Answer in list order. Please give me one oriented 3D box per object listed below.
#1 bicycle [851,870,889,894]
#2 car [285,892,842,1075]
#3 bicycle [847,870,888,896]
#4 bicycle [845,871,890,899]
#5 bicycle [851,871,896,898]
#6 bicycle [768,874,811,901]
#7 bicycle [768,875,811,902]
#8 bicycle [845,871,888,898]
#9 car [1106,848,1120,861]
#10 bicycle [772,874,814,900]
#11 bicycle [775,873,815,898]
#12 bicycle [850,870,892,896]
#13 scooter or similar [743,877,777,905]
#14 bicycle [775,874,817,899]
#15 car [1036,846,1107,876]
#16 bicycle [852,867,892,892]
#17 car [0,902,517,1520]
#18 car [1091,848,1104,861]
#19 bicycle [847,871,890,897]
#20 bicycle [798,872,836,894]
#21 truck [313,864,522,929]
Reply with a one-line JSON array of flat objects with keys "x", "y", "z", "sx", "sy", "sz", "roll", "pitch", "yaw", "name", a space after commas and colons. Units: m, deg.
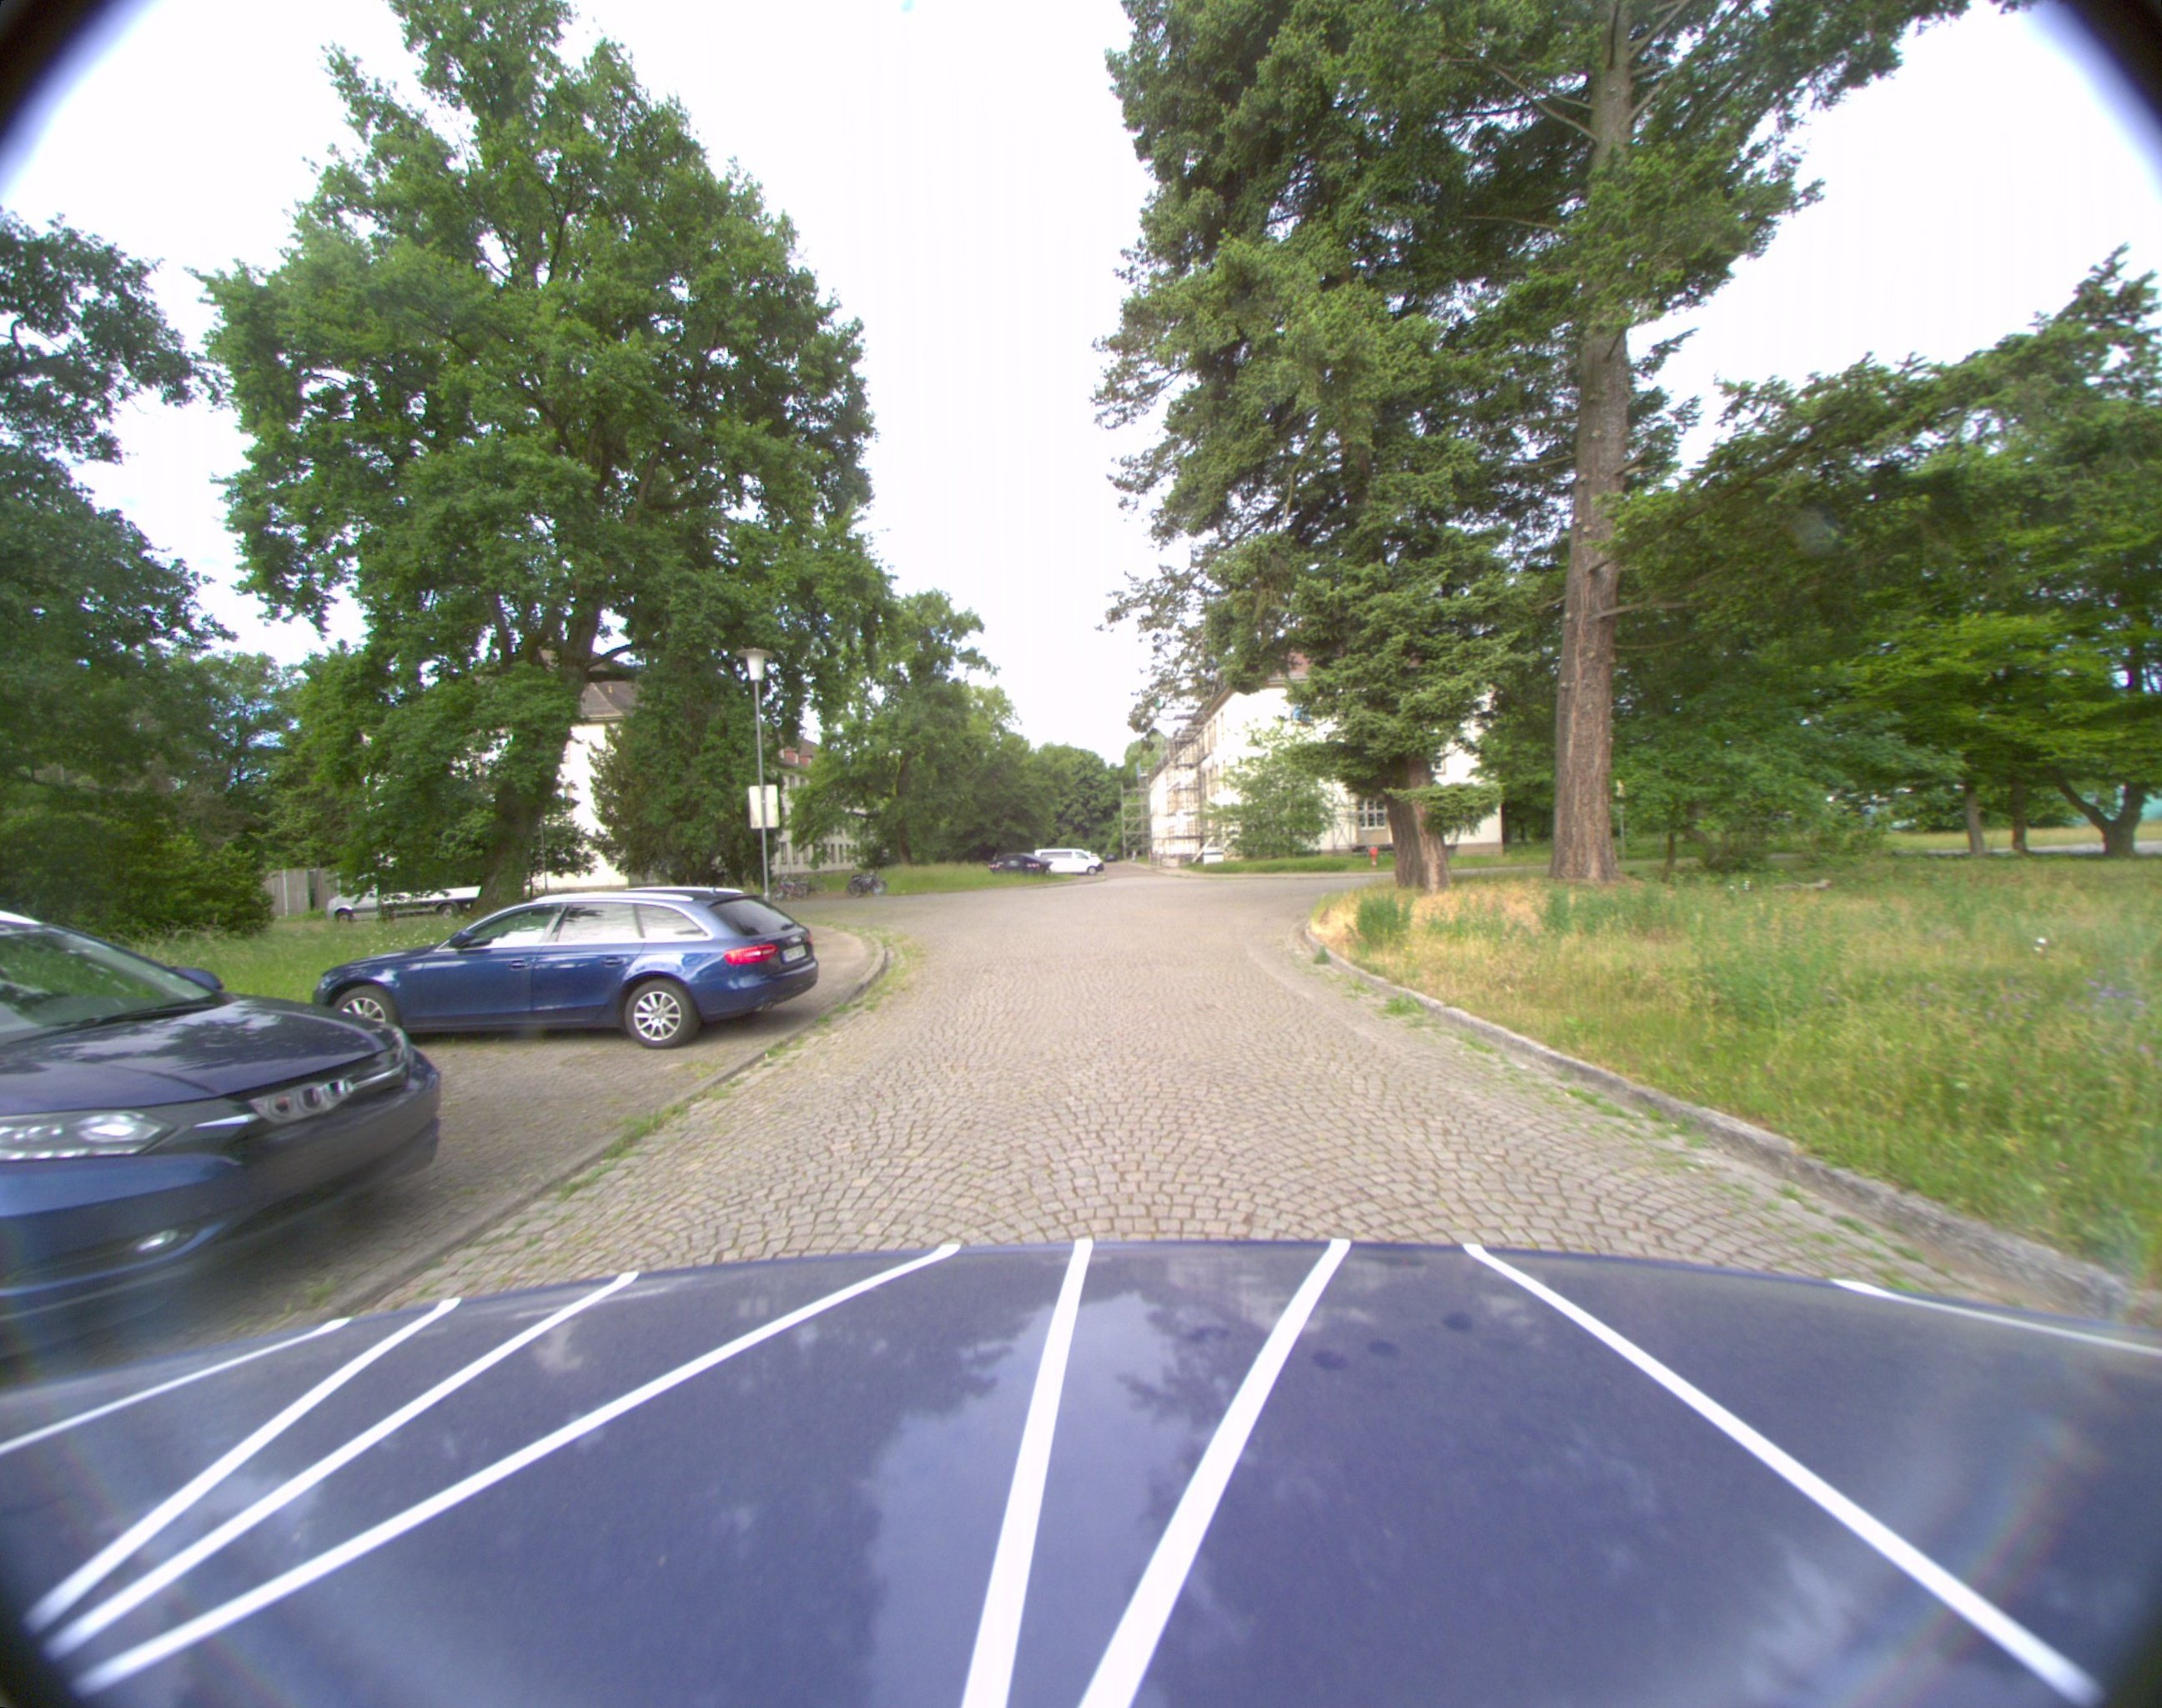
[{"x": -11.617, "y": 1.534, "z": 41.889, "sx": 1.940, "sy": 1.163, "sz": 0.537, "roll": -5, "pitch": 1, "yaw": -16, "name": "bicycle"}, {"x": -4.969, "y": 1.221, "z": 7.770, "sx": 4.367, "sy": 1.431, "sz": 1.927, "roll": -2, "pitch": 0, "yaw": 3, "name": "car"}, {"x": -11.261, "y": 1.524, "z": 40.035, "sx": 1.941, "sy": 1.163, "sz": 0.487, "roll": -5, "pitch": 1, "yaw": -21, "name": "bicycle"}, {"x": -10.170, "y": 1.479, "z": 36.184, "sx": 1.942, "sy": 1.163, "sz": 0.487, "roll": -5, "pitch": 1, "yaw": -27, "name": "bicycle"}, {"x": -10.053, "y": 1.464, "z": 36.861, "sx": 1.942, "sy": 1.163, "sz": 0.487, "roll": -5, "pitch": 1, "yaw": -27, "name": "bicycle"}, {"x": -14.224, "y": 1.640, "z": 37.133, "sx": 1.861, "sy": 1.163, "sz": 0.487, "roll": -4, "pitch": 1, "yaw": -25, "name": "bicycle"}, {"x": -14.027, "y": 1.656, "z": 36.565, "sx": 1.861, "sy": 1.163, "sz": 0.487, "roll": -4, "pitch": 1, "yaw": -25, "name": "bicycle"}, {"x": -10.674, "y": 1.501, "z": 37.783, "sx": 1.941, "sy": 1.163, "sz": 0.487, "roll": -5, "pitch": 1, "yaw": -25, "name": "bicycle"}, {"x": 5.209, "y": 0.128, "z": 122.918, "sx": 1.962, "sy": 2.002, "sz": 4.260, "roll": -2, "pitch": 1, "yaw": -1, "name": "car"}, {"x": -14.345, "y": 1.642, "z": 37.846, "sx": 1.861, "sy": 1.163, "sz": 0.487, "roll": -3, "pitch": 1, "yaw": -21, "name": "bicycle"}, {"x": -15.061, "y": 1.637, "z": 40.009, "sx": 1.862, "sy": 1.163, "sz": 0.487, "roll": -4, "pitch": 1, "yaw": -28, "name": "bicycle"}, {"x": -10.821, "y": 1.499, "z": 39.178, "sx": 1.941, "sy": 1.163, "sz": 0.487, "roll": -5, "pitch": 1, "yaw": -21, "name": "bicycle"}, {"x": -15.121, "y": 1.741, "z": 35.792, "sx": 1.308, "sy": 1.163, "sz": 0.413, "roll": -4, "pitch": 1, "yaw": -1, "name": "scooter or similar"}, {"x": -14.483, "y": 1.646, "z": 38.613, "sx": 1.862, "sy": 1.163, "sz": 0.487, "roll": -4, "pitch": 1, "yaw": -28, "name": "bicycle"}, {"x": -0.696, "y": 0.512, "z": 56.539, "sx": 5.149, "sy": 2.002, "sz": 2.000, "roll": -2, "pitch": 1, "yaw": 0, "name": "car"}, {"x": -11.197, "y": 1.378, "z": 40.645, "sx": 1.941, "sy": 1.163, "sz": 0.487, "roll": -5, "pitch": 1, "yaw": -21, "name": "bicycle"}, {"x": -5.125, "y": 1.134, "z": 3.029, "sx": 4.256, "sy": 1.613, "sz": 1.886, "roll": -2, "pitch": 0, "yaw": -1, "name": "car"}, {"x": 2.668, "y": 0.118, "z": 122.691, "sx": 1.962, "sy": 2.002, "sz": 4.260, "roll": -2, "pitch": 1, "yaw": -1, "name": "car"}, {"x": -10.730, "y": 1.500, "z": 38.397, "sx": 1.941, "sy": 1.163, "sz": 0.487, "roll": -5, "pitch": 1, "yaw": -25, "name": "bicycle"}, {"x": -14.274, "y": 1.571, "z": 41.133, "sx": 1.859, "sy": 1.163, "sz": 0.488, "roll": -1, "pitch": 0, "yaw": -9, "name": "bicycle"}, {"x": -28.046, "y": 1.778, "z": 32.272, "sx": 7.082, "sy": 2.352, "sz": 1.993, "roll": -3, "pitch": 0, "yaw": 0, "name": "truck"}]
